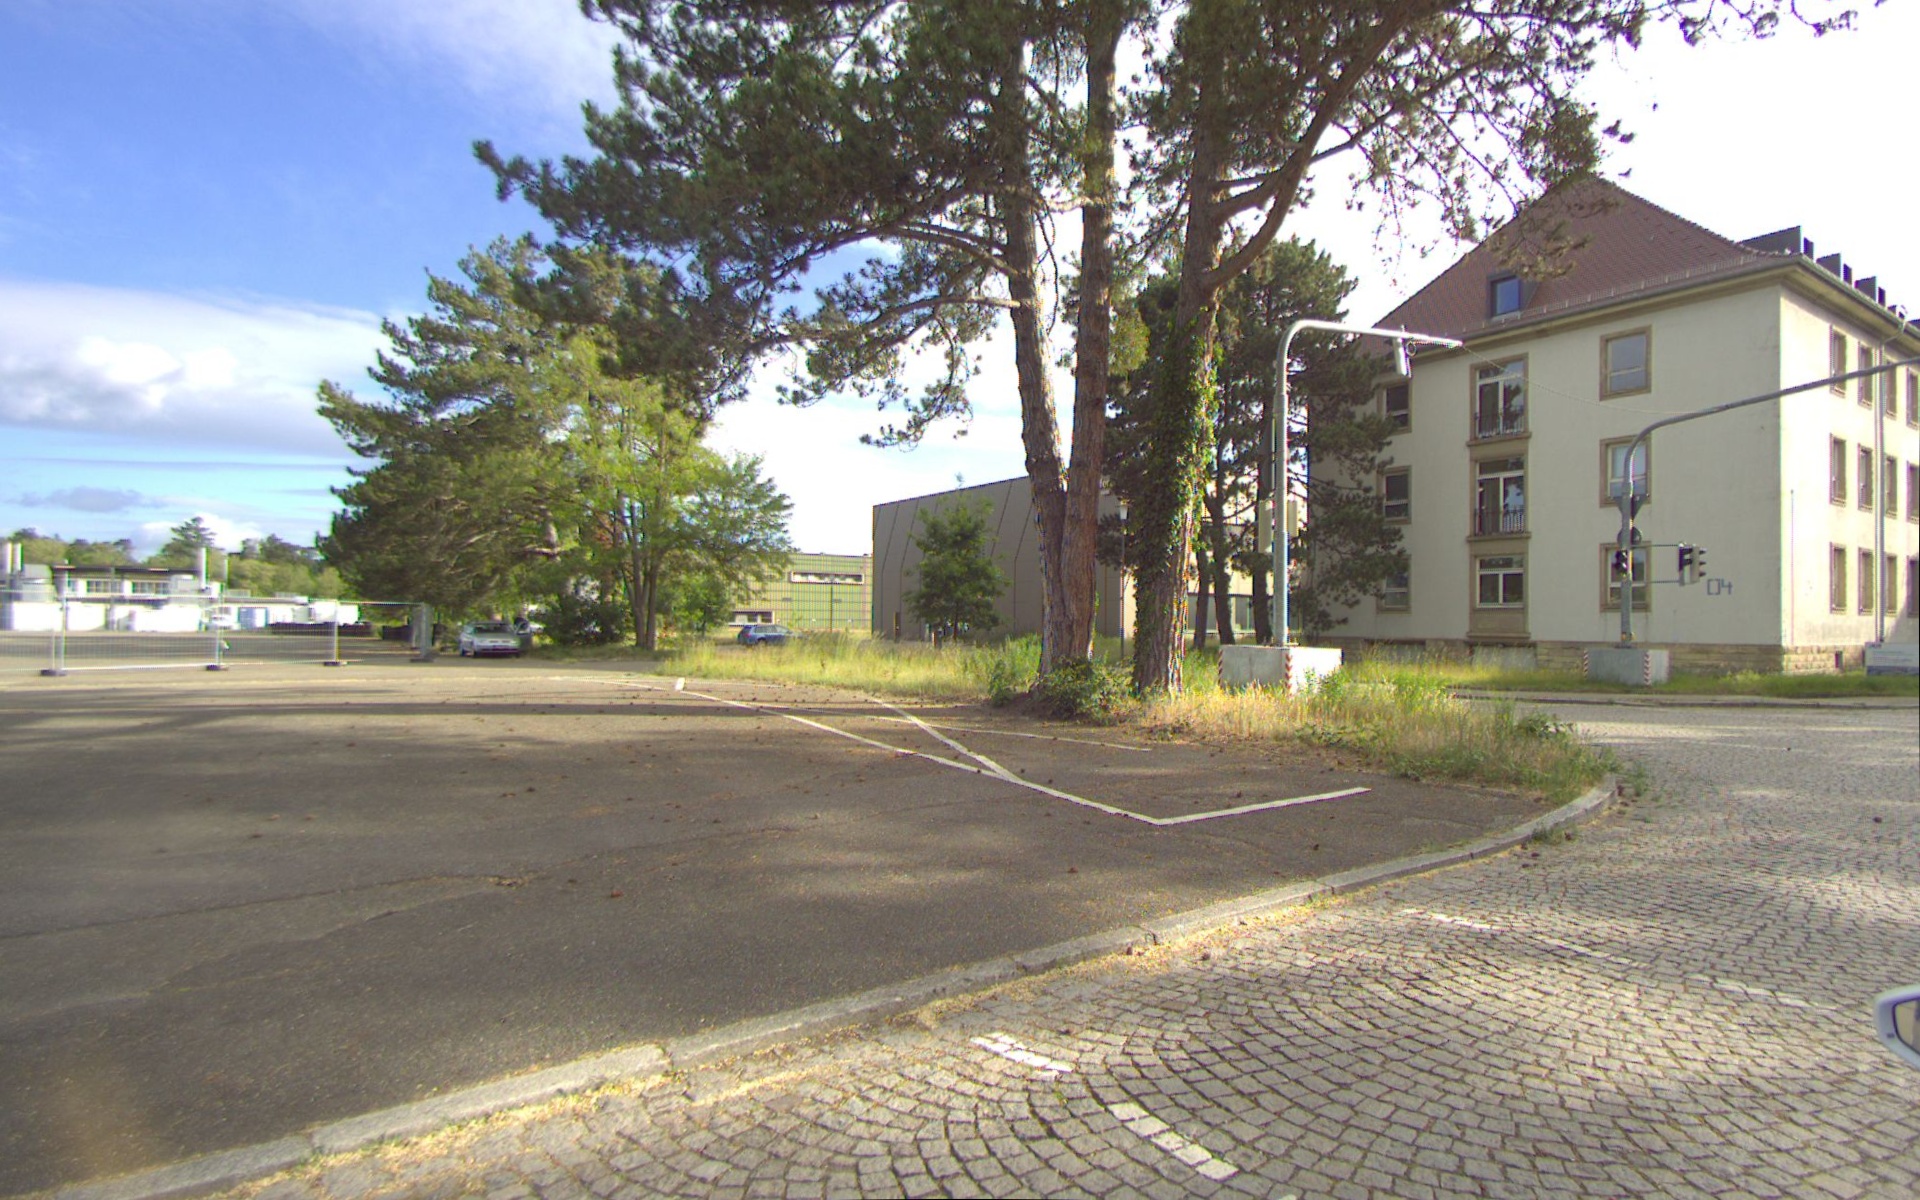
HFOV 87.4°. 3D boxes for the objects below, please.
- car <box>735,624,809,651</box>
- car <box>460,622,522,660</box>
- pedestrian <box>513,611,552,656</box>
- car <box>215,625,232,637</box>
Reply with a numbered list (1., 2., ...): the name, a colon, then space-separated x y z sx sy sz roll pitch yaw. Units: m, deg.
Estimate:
1. car: -11.618 2.328 62.070 4.119 1.580 1.790 2 -2 -38
2. car: -18.519 1.598 39.546 1.648 1.400 3.963 2 -2 -33
3. pedestrian: -17.208 1.354 40.451 0.862 1.767 1.095 1 -1 25
4. car: -107.951 4.560 147.152 1.840 1.694 4.154 2 -2 -38
